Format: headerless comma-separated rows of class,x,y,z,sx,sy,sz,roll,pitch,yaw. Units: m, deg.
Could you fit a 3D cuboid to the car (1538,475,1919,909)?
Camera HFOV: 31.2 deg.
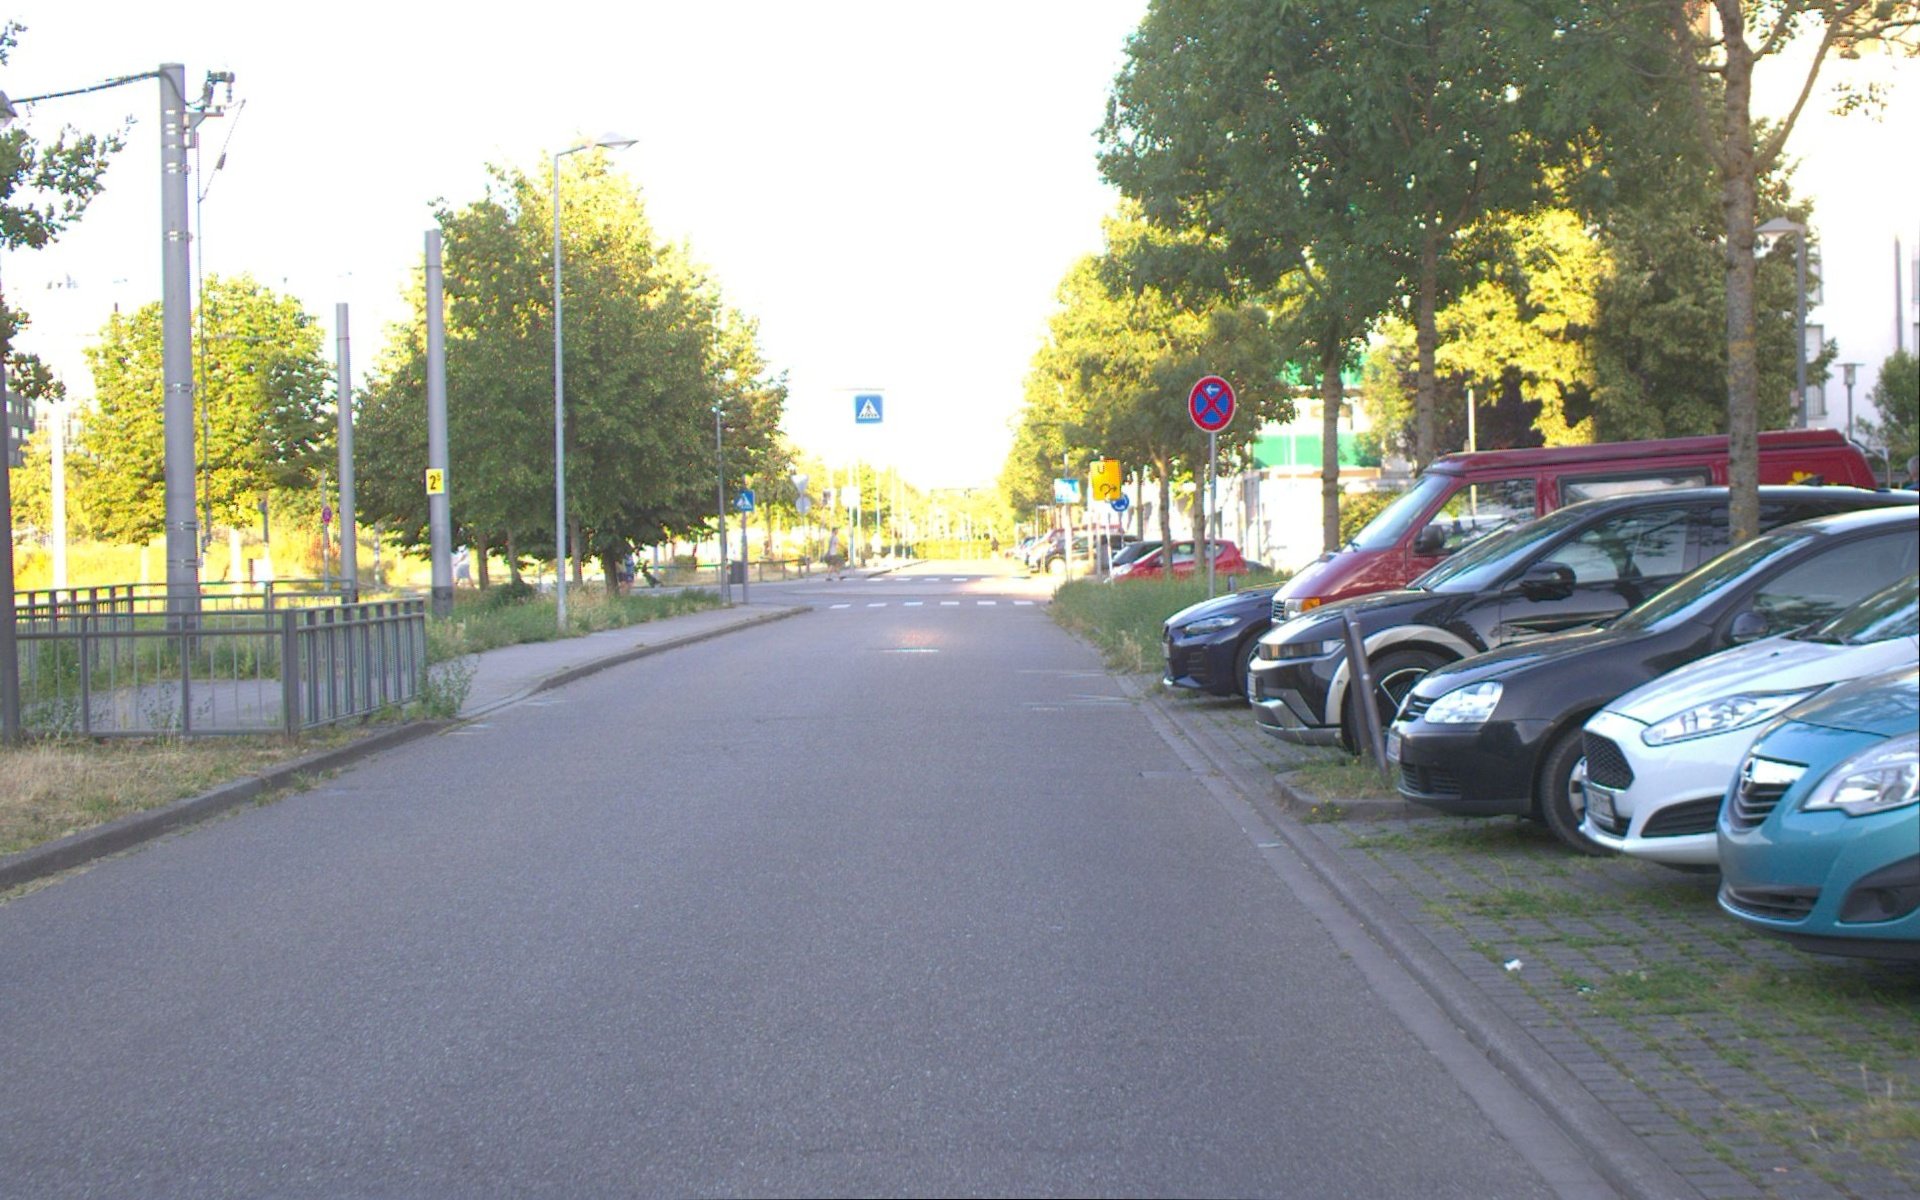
car,4.324,0.294,13.342,3.876,1.563,1.620,-1,1,1

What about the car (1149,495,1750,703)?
car,3.948,-0.026,28.289,4.669,1.551,1.811,-1,1,1

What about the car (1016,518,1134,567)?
car,5.091,-2.548,153.067,5.002,2.038,2.251,-2,1,-4

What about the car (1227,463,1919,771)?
car,3.814,0.073,20.658,4.215,1.563,1.792,-3,1,1

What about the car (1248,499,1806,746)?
car,3.845,0.132,23.711,3.525,1.460,1.615,-3,1,1

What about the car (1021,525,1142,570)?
car,4.583,-1.976,129.839,4.484,1.590,2.000,-1,1,2

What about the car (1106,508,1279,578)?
car,5.345,-1.327,79.360,3.802,1.503,1.679,-1,1,-1

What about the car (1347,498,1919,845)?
car,3.785,0.316,15.989,3.773,1.490,1.539,-1,-1,0

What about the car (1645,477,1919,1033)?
car,4.325,0.345,10.577,4.050,1.563,1.673,-3,1,1

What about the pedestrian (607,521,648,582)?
pedestrian,-9.419,-1.383,97.393,1.018,1.687,0.760,-2,1,-14

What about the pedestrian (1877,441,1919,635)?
pedestrian,8.758,-0.568,31.178,0.668,1.737,0.699,-1,1,0

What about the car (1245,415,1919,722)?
car,4.681,-0.245,25.841,4.920,2.110,2.017,-1,1,2

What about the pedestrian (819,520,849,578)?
pedestrian,-4.408,-1.801,120.393,0.846,2.007,0.943,-1,1,6

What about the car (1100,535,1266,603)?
car,5.313,-0.742,82.172,3.802,1.503,1.679,-1,1,-1
